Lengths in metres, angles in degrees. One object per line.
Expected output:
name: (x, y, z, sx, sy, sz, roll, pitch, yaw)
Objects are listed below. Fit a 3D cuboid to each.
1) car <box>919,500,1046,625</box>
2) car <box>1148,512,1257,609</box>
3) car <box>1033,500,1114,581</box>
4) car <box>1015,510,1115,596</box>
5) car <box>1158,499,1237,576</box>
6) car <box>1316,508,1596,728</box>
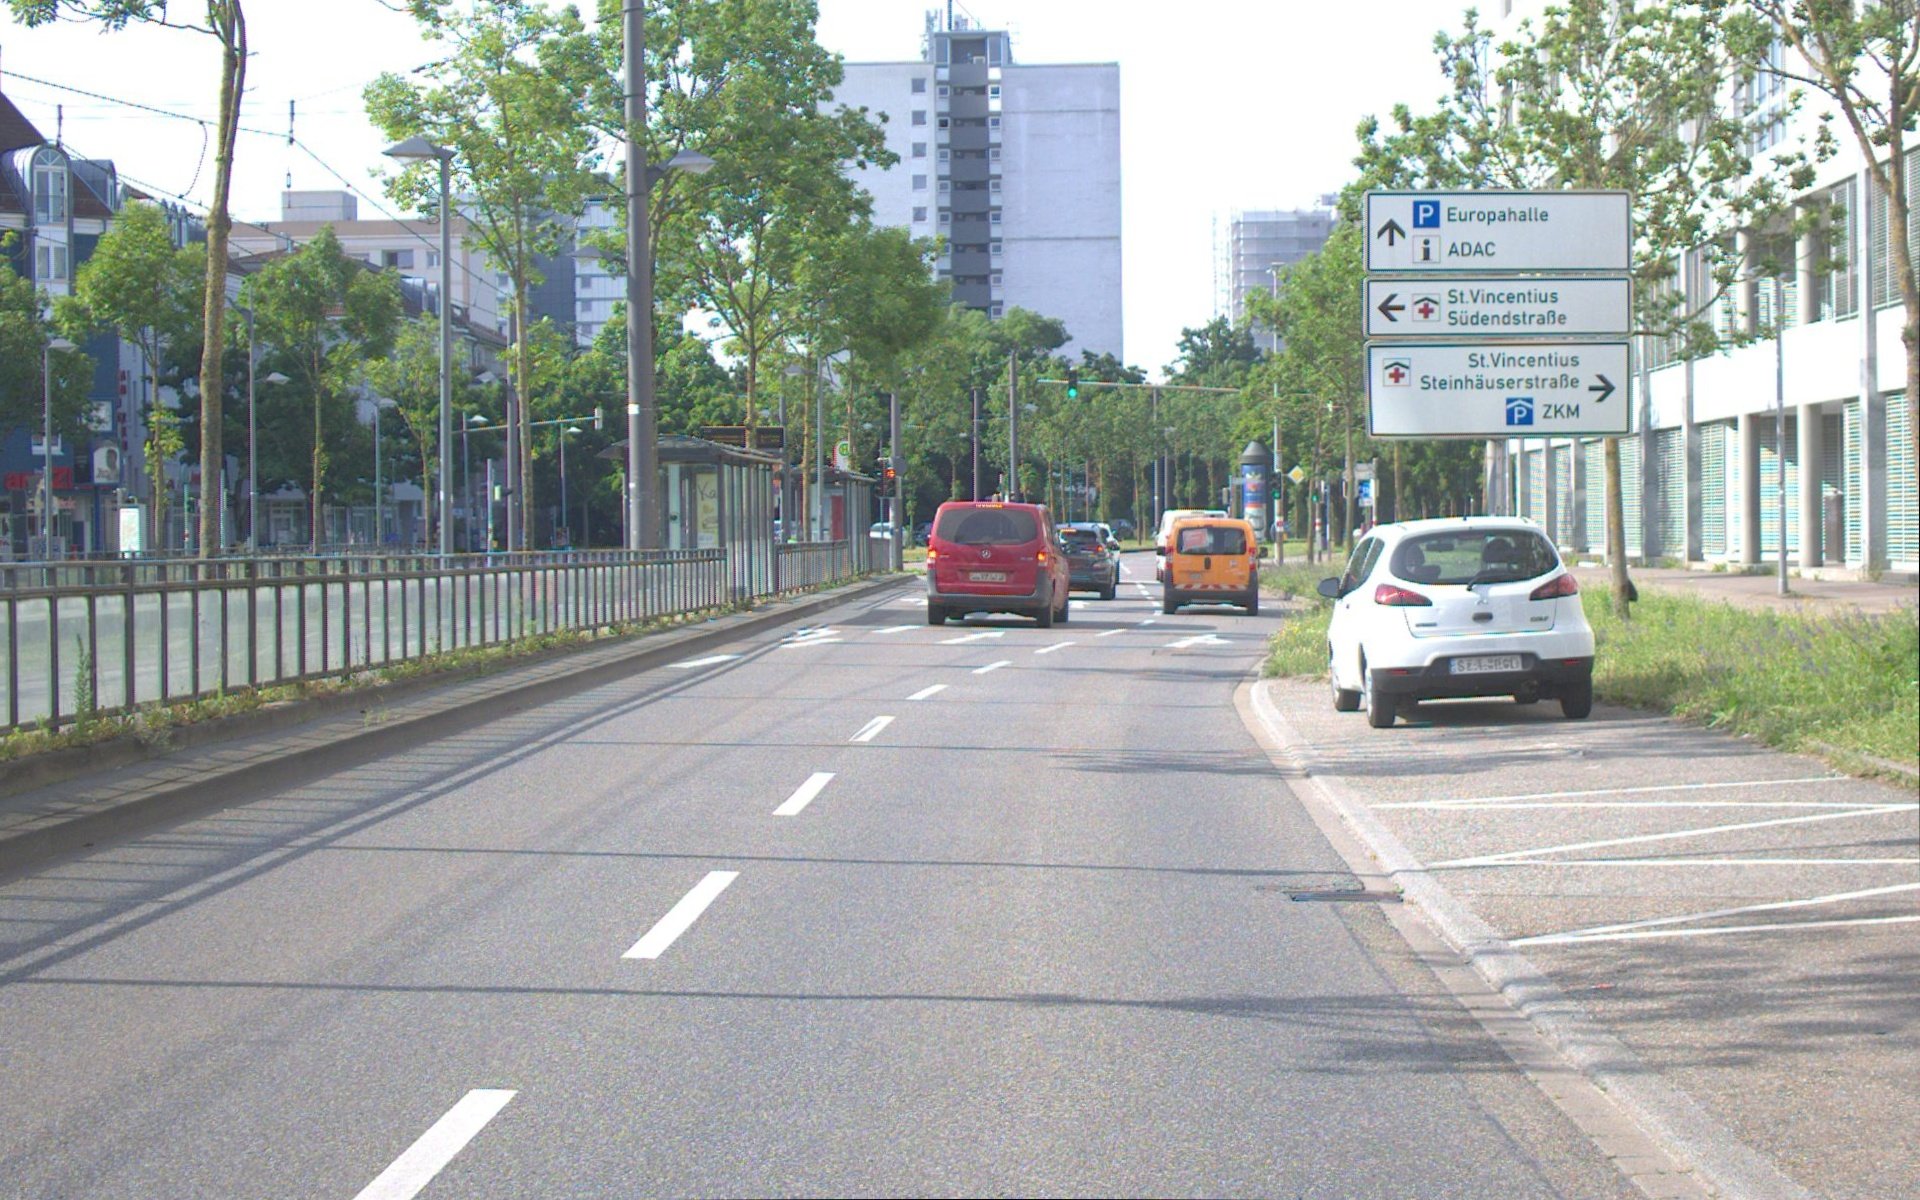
car: (0.362, -0.591, 52.688, 1.874, 1.847, 4.000, 0, 1, 1)
car: (4.327, -0.731, 61.832, 1.876, 1.690, 3.973, 0, 1, 3)
car: (2.934, -1.553, 89.545, 1.993, 2.007, 4.000, -1, 1, 1)
car: (2.194, -0.990, 71.383, 1.993, 1.700, 4.000, -1, 1, 2)
car: (6.460, -1.708, 93.747, 1.993, 2.007, 4.000, -1, 1, 2)
car: (3.781, 0.093, 26.747, 1.689, 1.521, 3.850, -2, 1, 2)
